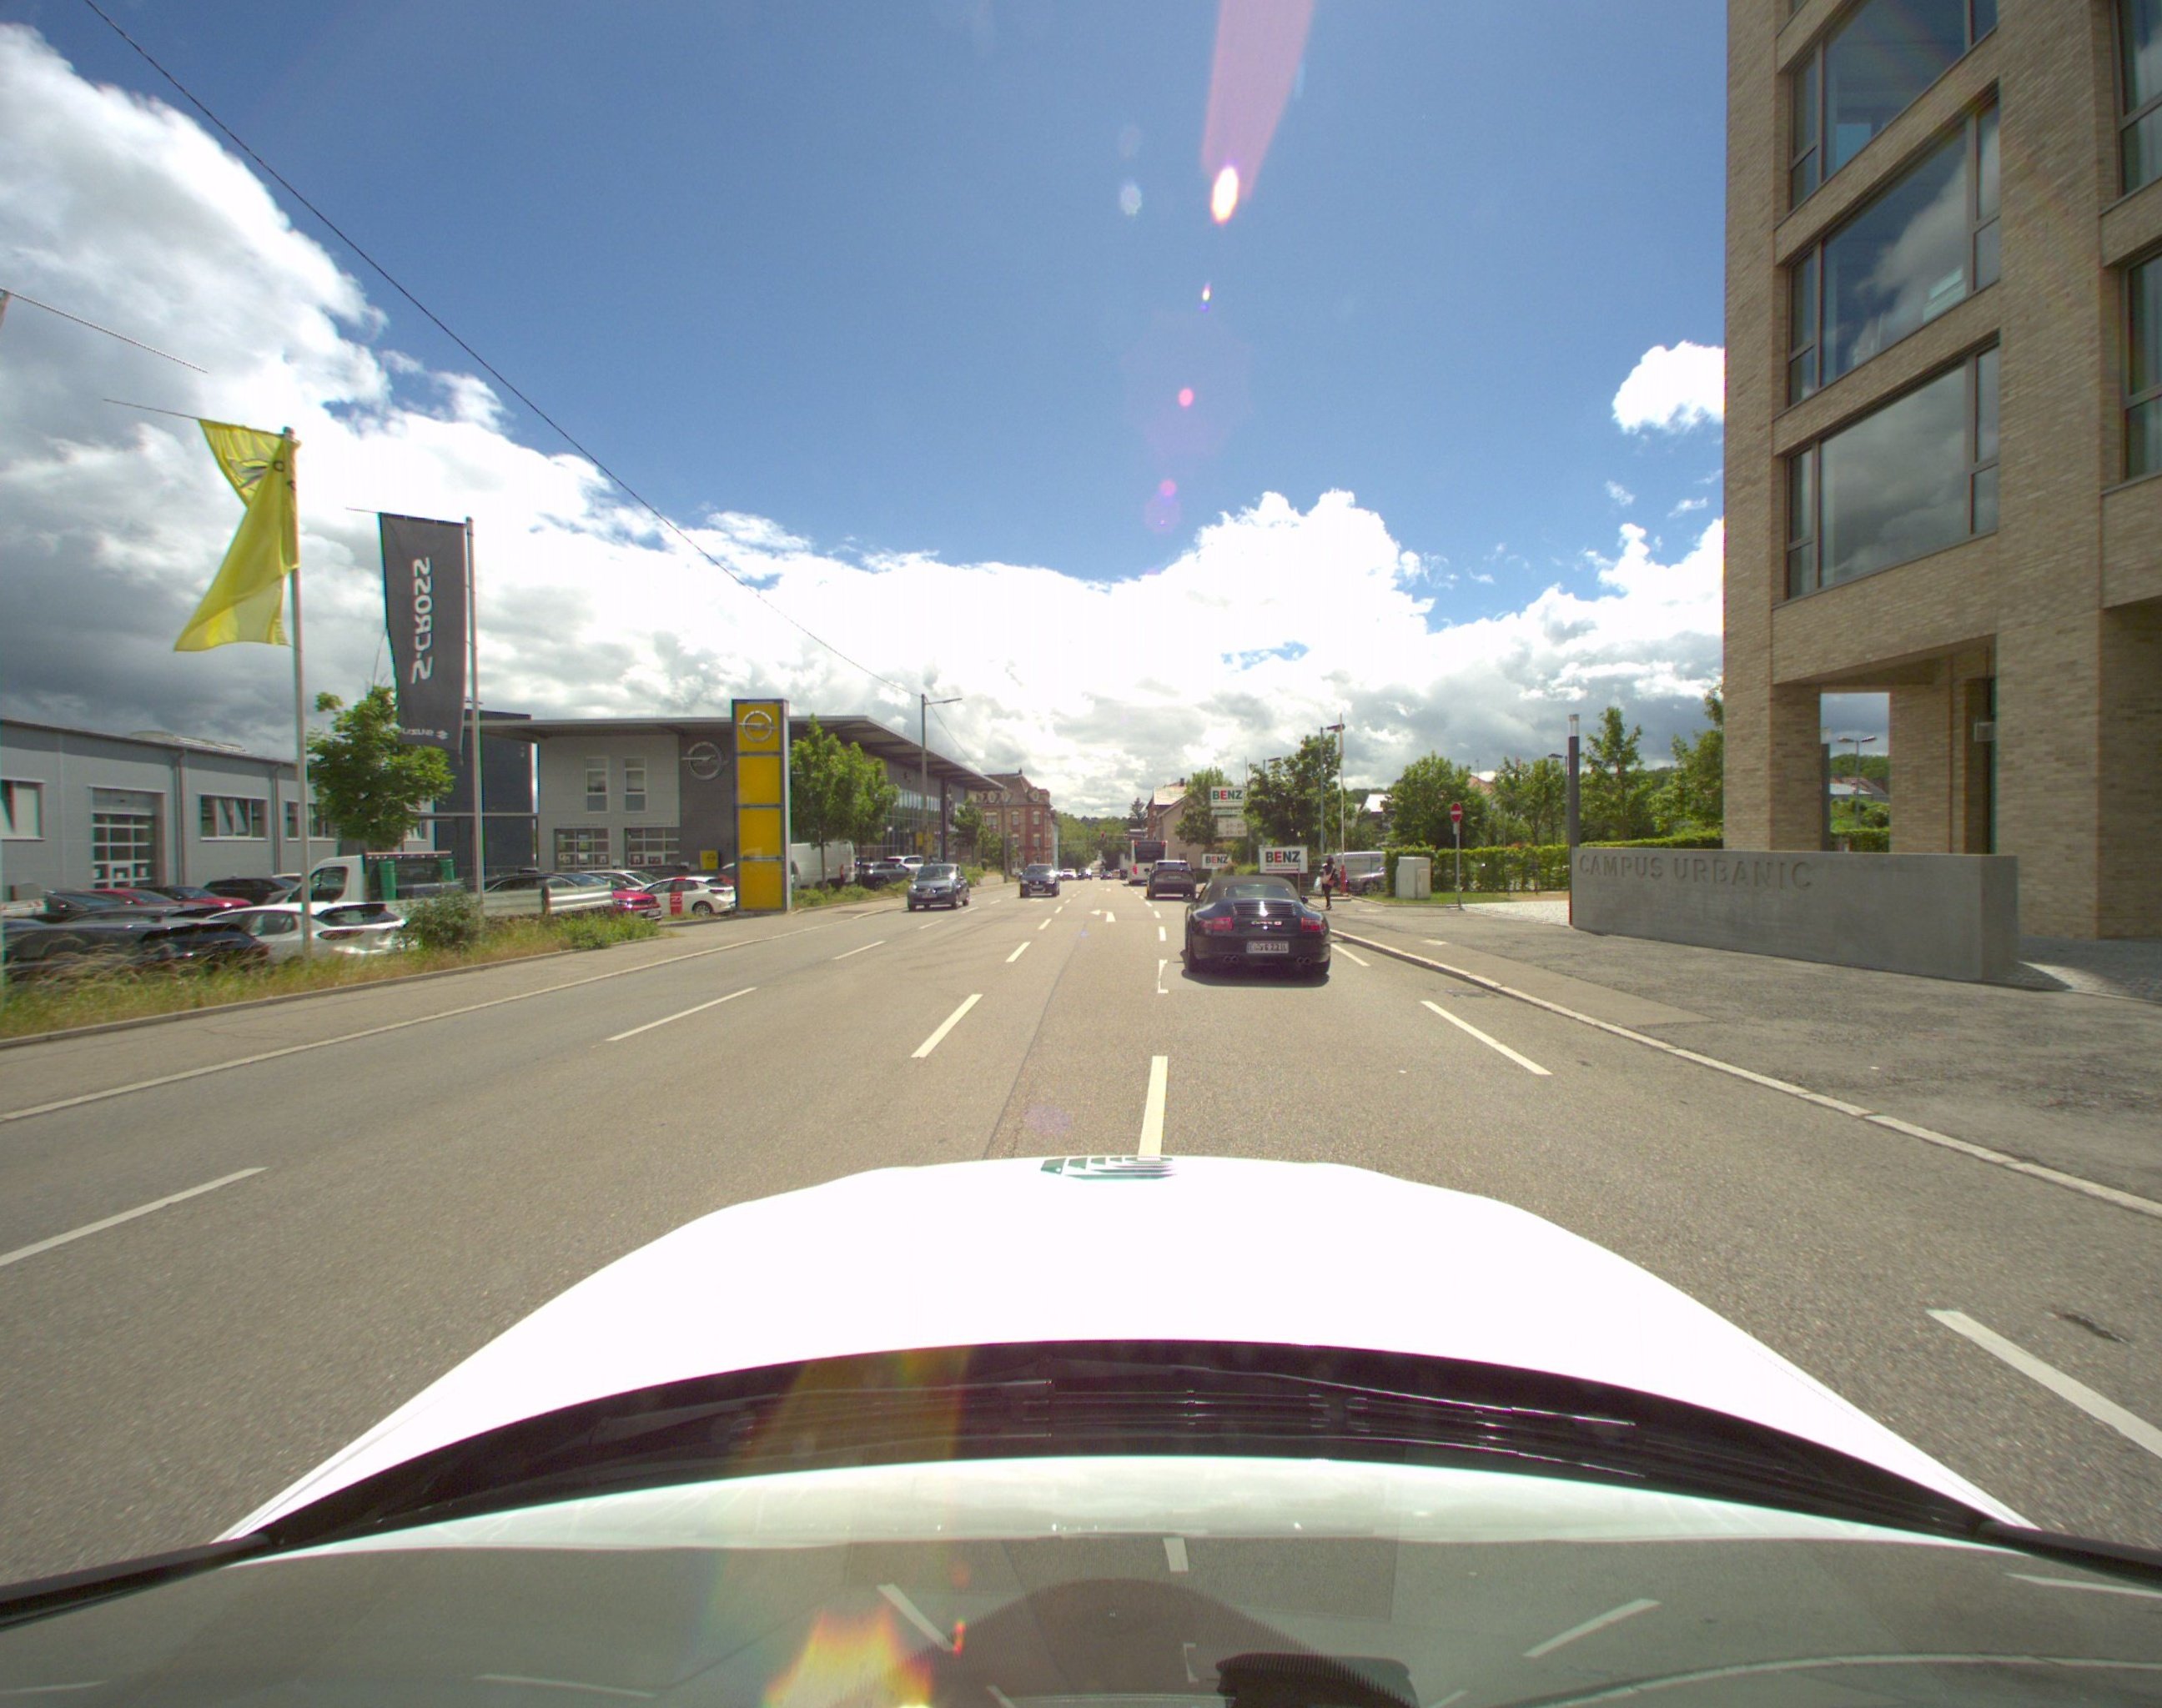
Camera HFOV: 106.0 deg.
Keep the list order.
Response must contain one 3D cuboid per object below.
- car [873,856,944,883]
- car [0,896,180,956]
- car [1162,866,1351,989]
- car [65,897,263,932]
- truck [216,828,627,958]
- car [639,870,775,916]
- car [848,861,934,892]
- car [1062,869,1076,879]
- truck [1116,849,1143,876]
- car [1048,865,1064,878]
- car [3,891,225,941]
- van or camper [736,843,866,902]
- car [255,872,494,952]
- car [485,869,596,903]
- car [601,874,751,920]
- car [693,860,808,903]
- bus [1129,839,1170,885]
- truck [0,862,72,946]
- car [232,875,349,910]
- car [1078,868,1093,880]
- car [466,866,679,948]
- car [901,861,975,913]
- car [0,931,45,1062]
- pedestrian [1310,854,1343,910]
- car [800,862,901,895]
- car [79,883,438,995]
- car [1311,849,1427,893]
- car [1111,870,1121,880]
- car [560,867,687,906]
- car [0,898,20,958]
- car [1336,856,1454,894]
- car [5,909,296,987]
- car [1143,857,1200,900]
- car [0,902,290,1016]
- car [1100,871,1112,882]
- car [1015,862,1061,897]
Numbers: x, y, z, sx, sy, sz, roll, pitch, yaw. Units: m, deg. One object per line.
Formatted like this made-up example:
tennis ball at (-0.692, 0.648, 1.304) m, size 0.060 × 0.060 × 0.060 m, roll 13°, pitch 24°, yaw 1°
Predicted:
car at (-10.615, 0.961, 50.512) m, size 1.913 × 1.573 × 4.579 m, roll -1°, pitch -1°, yaw 25°
car at (-30.650, 2.147, 24.525) m, size 4.244 × 1.582 × 1.914 m, roll 0°, pitch -1°, yaw -22°
car at (2.351, 0.930, 12.036) m, size 1.924 × 1.376 × 4.208 m, roll -1°, pitch 1°, yaw 1°
car at (-32.325, 2.102, 28.888) m, size 4.299 × 1.023 × 1.781 m, roll 0°, pitch -1°, yaw -22°
truck at (-12.464, 0.721, 15.799) m, size 5.844 × 2.148 × 2.475 m, roll -2°, pitch -1°, yaw -1°
car at (-13.498, 1.386, 29.576) m, size 3.968 × 1.491 × 2.003 m, roll -1°, pitch 1°, yaw 4°
car at (-10.532, 1.204, 45.520) m, size 1.877 × 1.450 × 4.863 m, roll 0°, pitch 1°, yaw 30°
car at (-1.789, 2.923, 119.853) m, size 1.857 × 1.540 × 4.108 m, roll -1°, pitch -1°, yaw 1°
truck at (5.988, 1.070, 101.189) m, size 2.658 × 3.108 × 9.032 m, roll -2°, pitch -1°, yaw 0°
car at (-3.056, 2.116, 99.793) m, size 1.865 × 1.491 × 3.847 m, roll -4°, pitch -1°, yaw -1°
car at (-31.509, 1.968, 26.727) m, size 4.244 × 1.409 × 1.914 m, roll 0°, pitch -1°, yaw -22°
van or camper at (-12.618, 0.814, 36.920) m, size 5.008 × 2.530 × 2.319 m, roll -1°, pitch 1°, yaw 1°
car at (-16.919, 1.358, 19.663) m, size 4.065 × 1.522 × 1.827 m, roll -3°, pitch 1°, yaw 1°
car at (-24.514, 1.420, 37.044) m, size 3.688 × 1.398 × 1.845 m, roll -1°, pitch 1°, yaw -4°
car at (-13.447, 1.396, 27.242) m, size 3.973 × 1.409 × 2.000 m, roll -1°, pitch -1°, yaw 0°
car at (-13.882, 1.132, 34.343) m, size 3.965 × 1.705 × 2.004 m, roll -1°, pitch 1°, yaw 7°
bus at (5.132, 0.439, 62.347) m, size 2.790 × 3.197 × 12.209 m, roll -1°, pitch 1°, yaw 4°
truck at (-31.985, 1.428, 21.422) m, size 6.312 × 2.229 × 2.684 m, roll -1°, pitch -1°, yaw -19°
car at (-36.434, 1.743, 37.628) m, size 3.475 × 1.398 × 1.654 m, roll -1°, pitch 1°, yaw -16°
car at (0.632, 2.675, 109.114) m, size 1.857 × 1.540 × 4.107 m, roll -1°, pitch -1°, yaw 1°
car at (-12.183, 1.241, 19.680) m, size 3.971 × 1.588 × 1.755 m, roll -4°, pitch 1°, yaw 2°
car at (-4.935, 1.085, 28.700) m, size 1.737 × 1.595 × 4.043 m, roll -3°, pitch 0°, yaw 1°
car at (-13.007, 1.503, 8.065) m, size 3.528 × 1.325 × 1.713 m, roll -1°, pitch -1°, yaw 5°
pedestrian at (6.995, 0.782, 23.253) m, size 0.685 × 1.536 × 0.856 m, roll -1°, pitch 0°, yaw 2°
car at (-11.560, 1.201, 40.948) m, size 4.499 × 1.509 × 1.920 m, roll -1°, pitch -1°, yaw -40°
car at (-13.116, 1.309, 13.193) m, size 3.870 × 1.609 × 1.929 m, roll -1°, pitch -1°, yaw 1°
car at (13.686, 0.811, 38.854) m, size 4.701 × 1.848 × 2.084 m, roll -2°, pitch -1°, yaw -6°
car at (7.074, 4.197, 164.234) m, size 1.826 × 1.882 × 4.000 m, roll -1°, pitch 0°, yaw 1°
car at (-19.136, 1.342, 34.178) m, size 4.212 × 1.536 × 1.929 m, roll -1°, pitch -1°, yaw 1°
car at (-29.295, 1.897, 19.544) m, size 4.243 × 1.497 × 1.915 m, roll 0°, pitch -1°, yaw -21°
car at (13.802, 0.930, 36.019) m, size 4.416 × 1.482 × 2.000 m, roll -2°, pitch -1°, yaw 1°
car at (-18.041, 1.799, 15.908) m, size 3.808 × 1.328 × 1.646 m, roll -1°, pitch -1°, yaw 1°
car at (3.684, 0.973, 33.841) m, size 1.924 × 1.583 × 4.208 m, roll -1°, pitch 1°, yaw 0°
car at (-12.833, 1.272, 10.330) m, size 3.703 × 1.211 × 1.929 m, roll -1°, pitch -1°, yaw 1°
car at (4.042, 3.638, 131.788) m, size 1.857 × 1.666 × 4.260 m, roll -1°, pitch -1°, yaw 1°
car at (-1.909, 1.142, 37.694) m, size 1.823 × 1.509 × 4.276 m, roll -2°, pitch -1°, yaw 0°
